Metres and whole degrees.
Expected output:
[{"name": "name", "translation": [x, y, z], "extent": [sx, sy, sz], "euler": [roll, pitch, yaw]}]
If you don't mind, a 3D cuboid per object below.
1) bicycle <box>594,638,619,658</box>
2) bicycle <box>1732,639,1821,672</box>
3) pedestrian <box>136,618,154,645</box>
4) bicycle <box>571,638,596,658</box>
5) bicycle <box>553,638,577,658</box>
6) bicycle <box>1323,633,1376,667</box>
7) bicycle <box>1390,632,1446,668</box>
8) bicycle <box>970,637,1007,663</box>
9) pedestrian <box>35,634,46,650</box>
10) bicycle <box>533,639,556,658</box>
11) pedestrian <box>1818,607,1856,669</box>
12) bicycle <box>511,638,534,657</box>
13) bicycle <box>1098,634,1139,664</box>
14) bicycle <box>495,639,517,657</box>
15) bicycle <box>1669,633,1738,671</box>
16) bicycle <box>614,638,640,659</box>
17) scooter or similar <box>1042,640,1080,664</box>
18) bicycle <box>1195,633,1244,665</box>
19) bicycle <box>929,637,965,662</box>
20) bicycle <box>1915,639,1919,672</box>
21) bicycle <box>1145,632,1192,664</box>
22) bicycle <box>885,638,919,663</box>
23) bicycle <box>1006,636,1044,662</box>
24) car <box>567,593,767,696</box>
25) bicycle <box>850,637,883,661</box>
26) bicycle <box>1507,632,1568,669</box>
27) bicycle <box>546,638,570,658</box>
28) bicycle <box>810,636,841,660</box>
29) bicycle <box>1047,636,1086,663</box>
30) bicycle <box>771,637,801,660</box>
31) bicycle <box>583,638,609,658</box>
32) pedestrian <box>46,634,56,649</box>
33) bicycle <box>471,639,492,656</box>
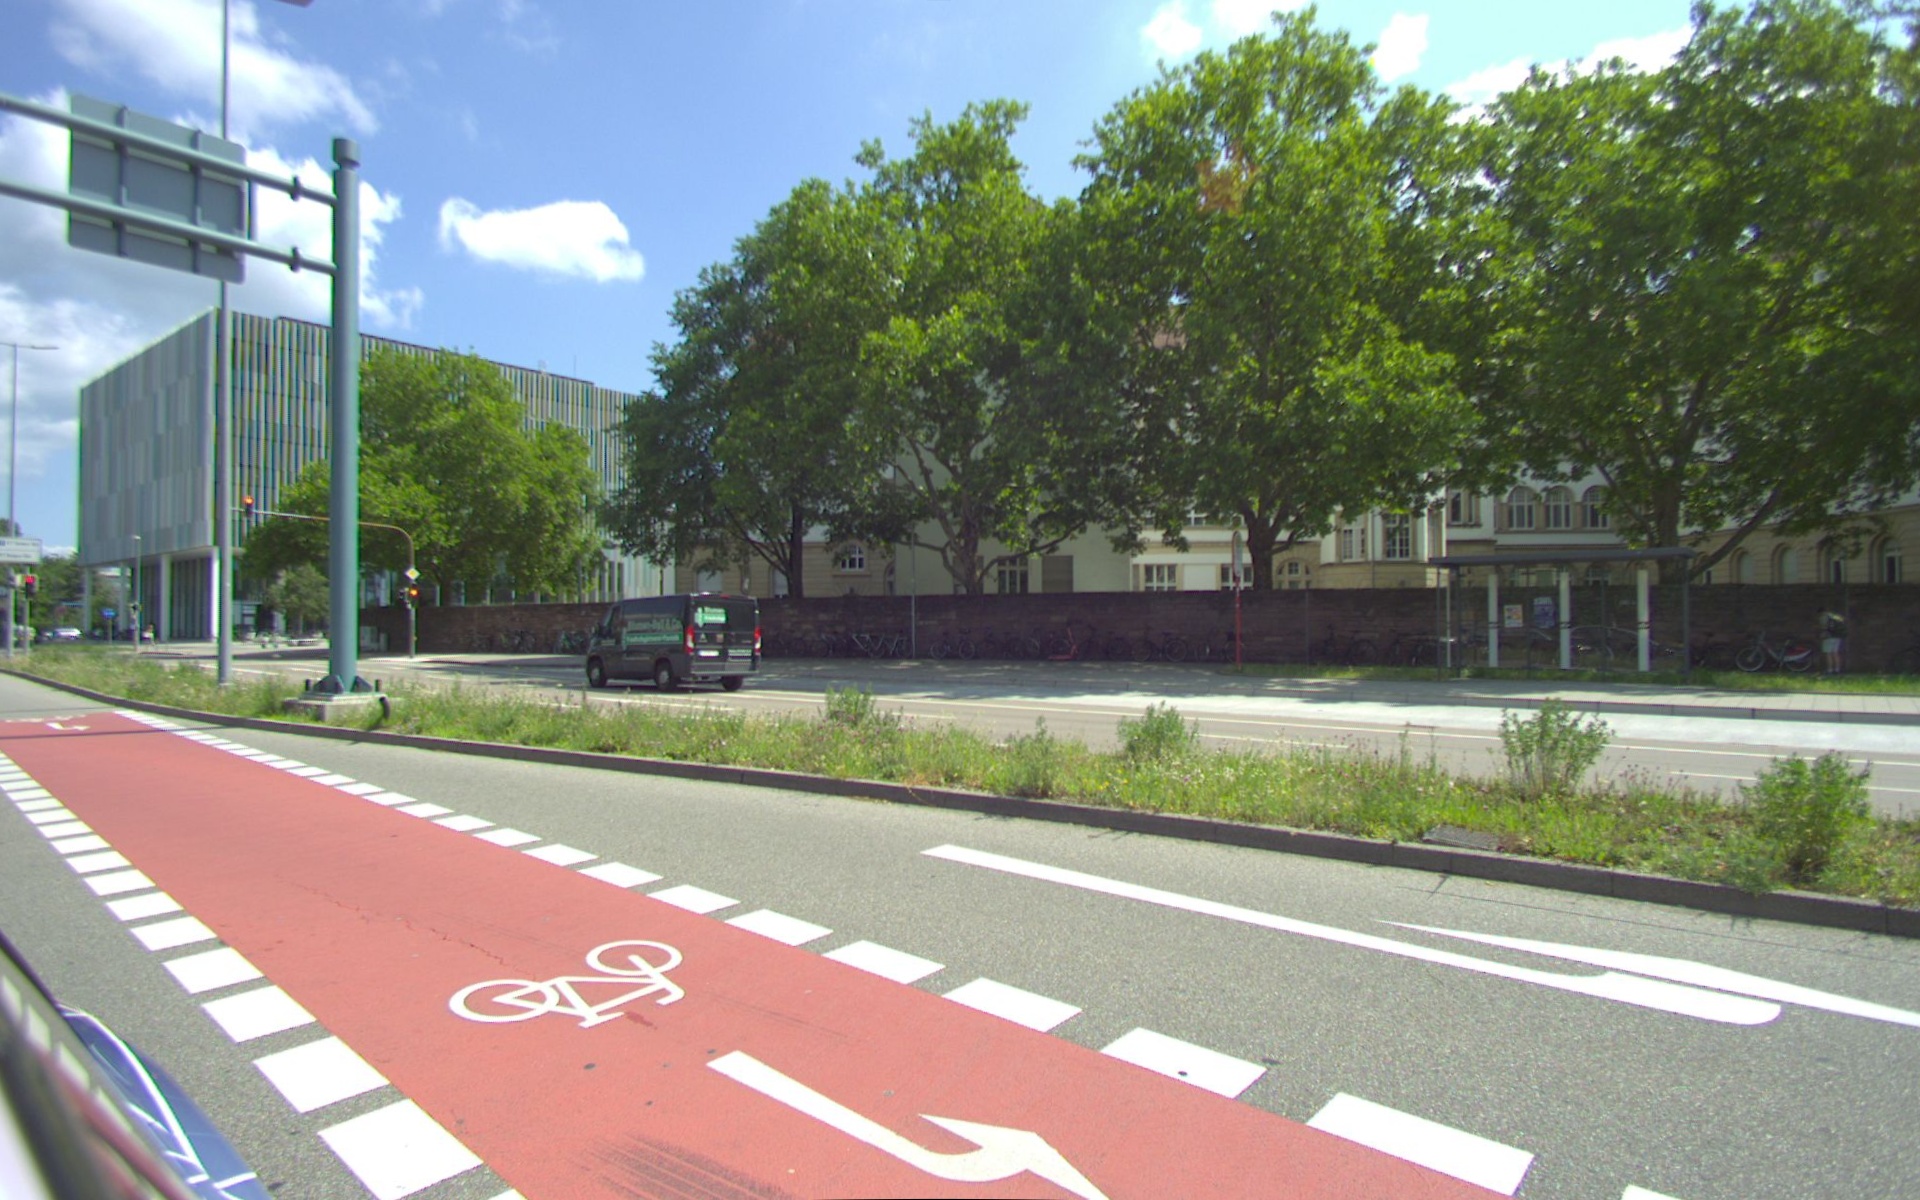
[{"name": "bicycle", "translation": [-14.985, 2.016, 42.884], "extent": [1.231, 0.837, 0.262], "euler": [-2, -2, 30]}, {"name": "bicycle", "translation": [20.741, 1.405, 25.722], "extent": [1.734, 0.823, 0.327], "euler": [-1, -2, 18]}, {"name": "pedestrian", "translation": [-61.985, 2.387, 76.940], "extent": [0.994, 2.029, 0.853], "euler": [-2, -2, 39]}, {"name": "bicycle", "translation": [-16.273, 2.081, 43.721], "extent": [1.231, 0.837, 0.262], "euler": [-2, -2, 30]}, {"name": "bicycle", "translation": [-17.408, 2.111, 44.564], "extent": [1.230, 0.837, 0.262], "euler": [-1, -2, 29]}, {"name": "bicycle", "translation": [11.175, 1.426, 29.034], "extent": [1.384, 0.972, 0.263], "euler": [-1, -2, 18]}, {"name": "bicycle", "translation": [12.860, 1.404, 28.420], "extent": [1.384, 0.972, 0.263], "euler": [-1, -2, 18]}, {"name": "bicycle", "translation": [0.957, 1.660, 33.721], "extent": [1.230, 0.837, 0.262], "euler": [-1, -2, 28]}, {"name": "pedestrian", "translation": [-86.880, 3.979, 95.613], "extent": [0.686, 1.464, 0.689], "euler": [1, -3, -45]}, {"name": "bicycle", "translation": [-18.596, 2.162, 45.314], "extent": [1.230, 0.837, 0.262], "euler": [-1, -2, 29]}, {"name": "pedestrian", "translation": [21.454, 0.921, 24.760], "extent": [0.633, 1.484, 0.504], "euler": [-2, -2, 39]}, {"name": "bicycle", "translation": [-19.973, 2.179, 46.202], "extent": [1.230, 0.837, 0.262], "euler": [-1, -2, 29]}, {"name": "bicycle", "translation": [4.944, 1.522, 31.601], "extent": [1.230, 0.915, 0.262], "euler": [-1, -2, 28]}, {"name": "bicycle", "translation": [-21.054, 2.226, 46.971], "extent": [1.231, 0.837, 0.262], "euler": [-2, -2, 30]}, {"name": "bicycle", "translation": [19.229, 1.345, 26.196], "extent": [1.384, 0.972, 0.263], "euler": [-1, -2, 18]}, {"name": "bicycle", "translation": [-13.889, 2.026, 42.219], "extent": [1.231, 0.837, 0.262], "euler": [-2, -2, 30]}, {"name": "scooter or similar", "translation": [3.175, 1.628, 31.810], "extent": [1.133, 0.734, 0.264], "euler": [-1, -2, 18]}, {"name": "bicycle", "translation": [7.803, 1.469, 30.418], "extent": [1.389, 0.972, 0.262], "euler": [-1, -2, 28]}, {"name": "bicycle", "translation": [-0.434, 1.672, 34.281], "extent": [1.230, 0.837, 0.262], "euler": [-1, -2, 28]}, {"name": "bicycle", "translation": [24.430, 1.356, 24.605], "extent": [1.734, 0.823, 0.382], "euler": [-1, -2, 18]}, {"name": "bicycle", "translation": [6.397, 1.475, 31.038], "extent": [1.385, 0.972, 0.263], "euler": [-1, -2, 20]}, {"name": "bicycle", "translation": [-2.018, 1.750, 35.119], "extent": [1.231, 0.837, 0.262], "euler": [-1, -2, 30]}, {"name": "bicycle", "translation": [2.129, 1.610, 33.072], "extent": [1.230, 0.837, 0.262], "euler": [-1, -2, 28]}, {"name": "car", "translation": [-7.043, 1.065, 24.057], "extent": [5.014, 2.192, 2.126], "euler": [-2, -4, 40]}, {"name": "bicycle", "translation": [-3.332, 1.753, 35.900], "extent": [1.231, 0.837, 0.262], "euler": [-1, -2, 30]}, {"name": "bicycle", "translation": [15.627, 1.368, 27.390], "extent": [1.384, 0.972, 0.263], "euler": [-1, -2, 18]}, {"name": "bicycle", "translation": [-17.483, 2.094, 43.970], "extent": [1.230, 0.837, 0.262], "euler": [-1, -2, 29]}, {"name": "bicycle", "translation": [-4.892, 1.740, 36.860], "extent": [1.231, 0.837, 0.262], "euler": [-1, -2, 30]}, {"name": "bicycle", "translation": [3.406, 1.593, 32.460], "extent": [1.230, 0.837, 0.262], "euler": [-1, -2, 28]}, {"name": "bicycle", "translation": [-6.472, 1.809, 37.569], "extent": [1.231, 0.837, 0.262], "euler": [-1, -2, 30]}, {"name": "bicycle", "translation": [-15.316, 2.004, 42.591], "extent": [1.230, 0.837, 0.262], "euler": [-1, -2, 29]}, {"name": "pedestrian", "translation": [-88.736, 4.050, 98.829], "extent": [0.686, 1.464, 0.689], "euler": [1, -3, -45]}, {"name": "bicycle", "translation": [-22.693, 2.249, 47.964], "extent": [1.231, 0.837, 0.262], "euler": [-2, -2, 30]}]
